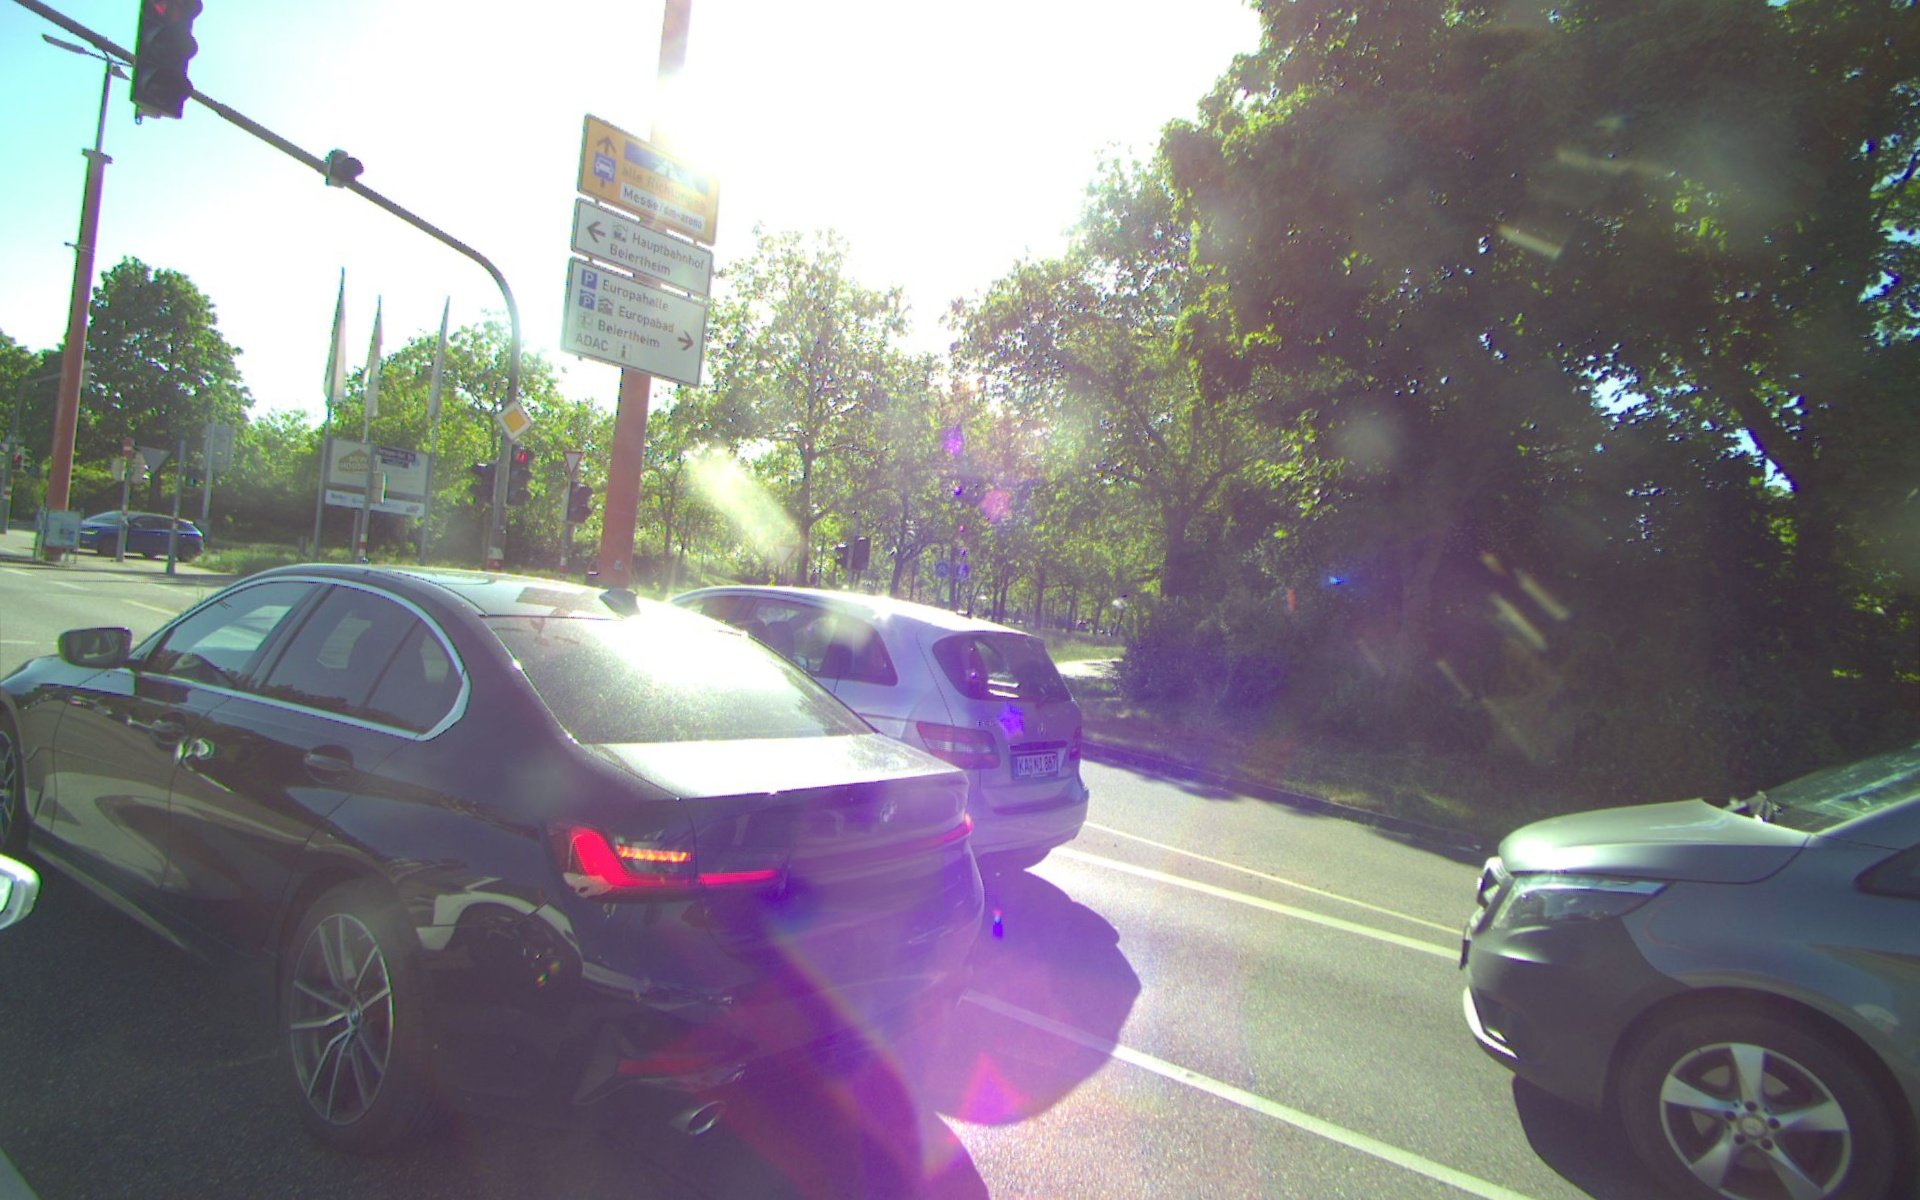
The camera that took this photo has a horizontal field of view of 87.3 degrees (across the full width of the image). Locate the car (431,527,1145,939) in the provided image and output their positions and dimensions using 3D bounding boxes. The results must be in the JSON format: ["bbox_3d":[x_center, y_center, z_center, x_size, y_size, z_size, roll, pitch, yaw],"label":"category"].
[{"bbox_3d":[-1.272,0.641,6.786,4.403,1.706,1.970,7,-1,32],"label":"car"}]

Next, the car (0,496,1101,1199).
[{"bbox_3d":[-1.950,0.530,3.878,4.403,1.411,1.996,7,0,32],"label":"car"}]

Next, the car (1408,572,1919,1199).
[{"bbox_3d":[4.318,1.176,2.992,5.063,1.916,1.996,7,0,32],"label":"car"}]

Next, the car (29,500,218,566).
[{"bbox_3d":[-26.395,-2.073,31.955,1.848,1.445,4.284,7,-1,12],"label":"car"}]
